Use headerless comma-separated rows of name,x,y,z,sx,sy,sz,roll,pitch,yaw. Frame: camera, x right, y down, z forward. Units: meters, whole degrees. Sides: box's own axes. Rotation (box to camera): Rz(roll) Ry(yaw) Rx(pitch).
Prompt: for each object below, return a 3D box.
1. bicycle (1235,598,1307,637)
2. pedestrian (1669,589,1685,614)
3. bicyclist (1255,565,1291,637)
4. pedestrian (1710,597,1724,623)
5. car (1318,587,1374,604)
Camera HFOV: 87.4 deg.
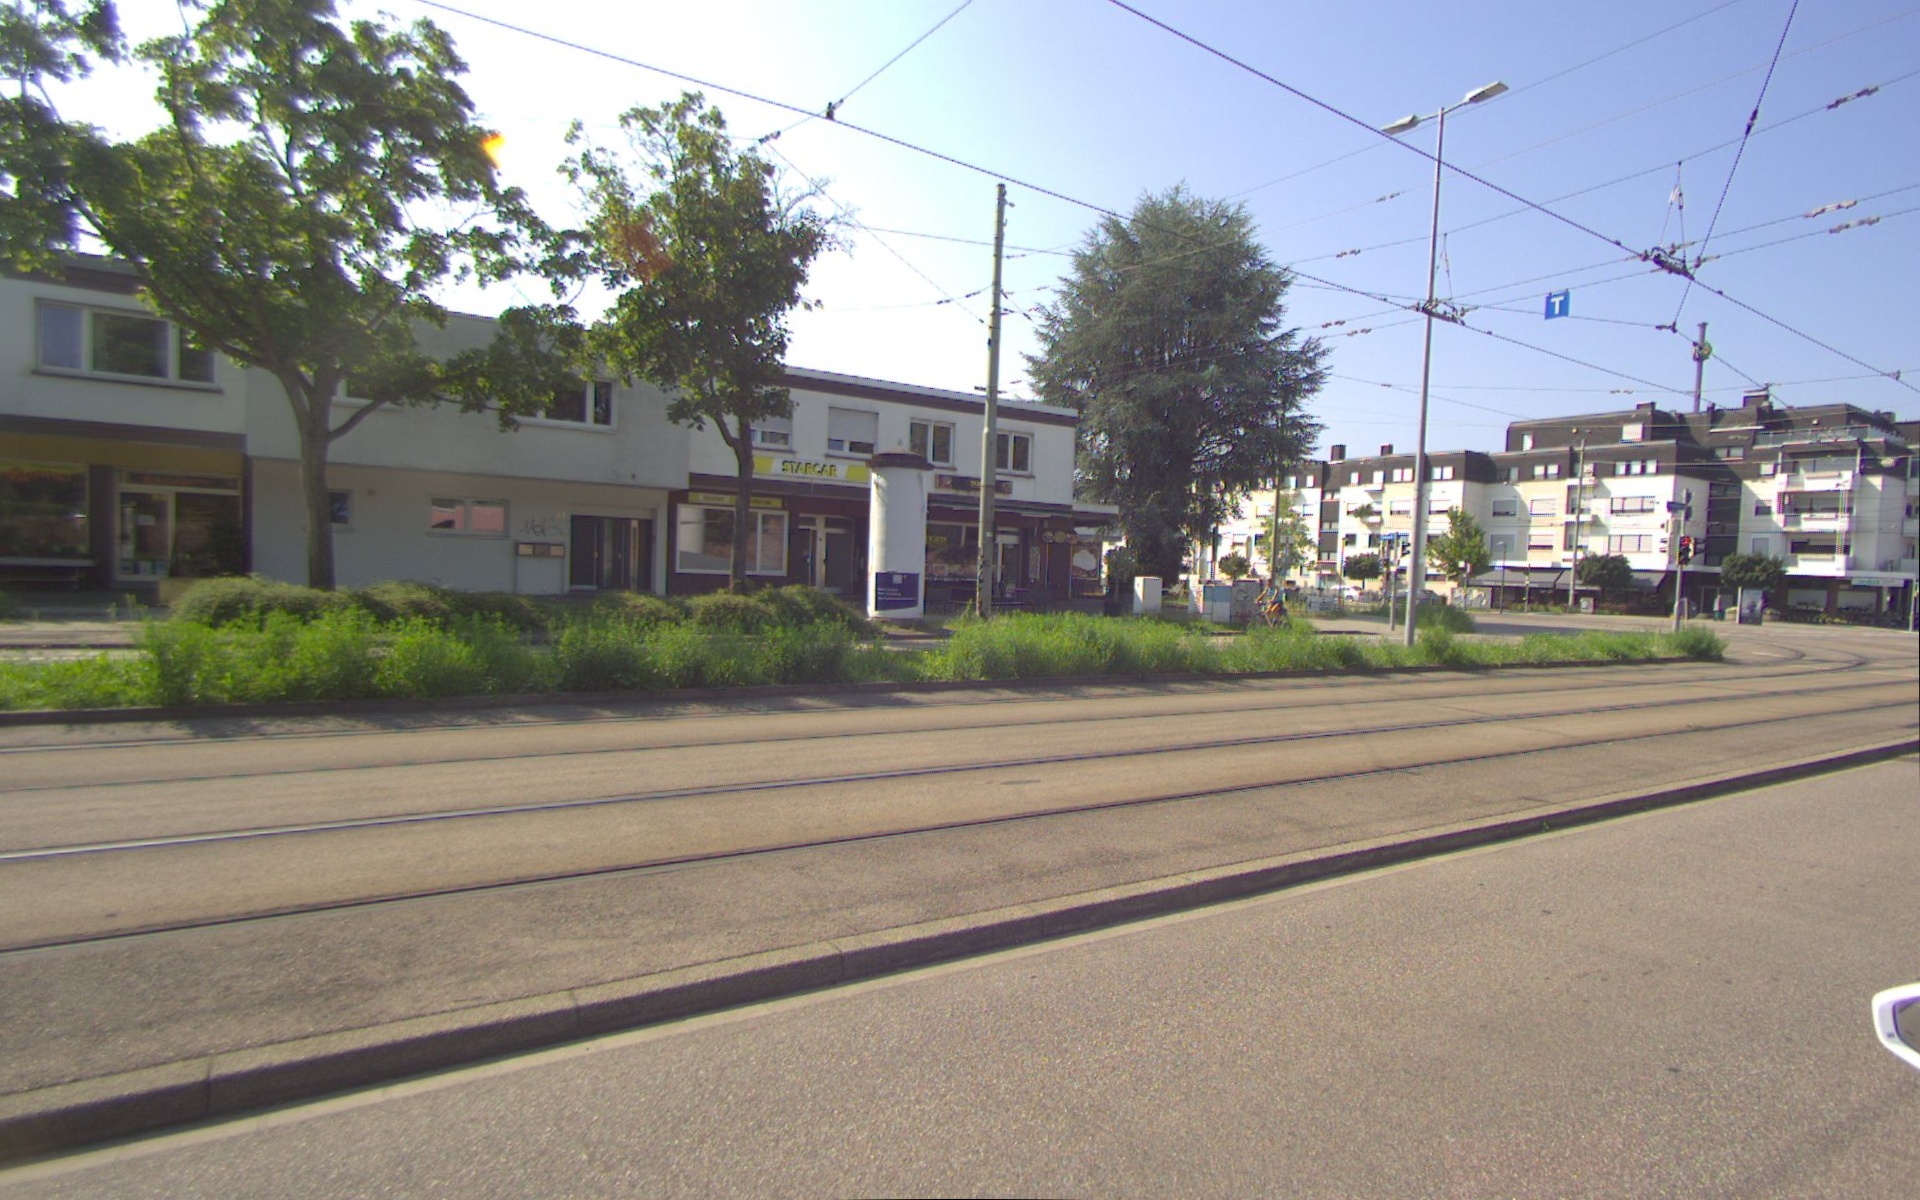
bicycle,9.202,0.528,29.704,2.240,1.106,0.711,1,0,-32
pedestrian,51.562,0.086,72.202,0.690,1.764,0.676,1,1,-32
bicyclist,9.254,0.035,29.702,0.766,2.092,0.634,1,1,-31
pedestrian,50.926,0.680,67.597,0.588,1.768,0.566,2,1,24
car,31.570,-0.355,82.271,1.655,1.317,4.084,1,0,-33
